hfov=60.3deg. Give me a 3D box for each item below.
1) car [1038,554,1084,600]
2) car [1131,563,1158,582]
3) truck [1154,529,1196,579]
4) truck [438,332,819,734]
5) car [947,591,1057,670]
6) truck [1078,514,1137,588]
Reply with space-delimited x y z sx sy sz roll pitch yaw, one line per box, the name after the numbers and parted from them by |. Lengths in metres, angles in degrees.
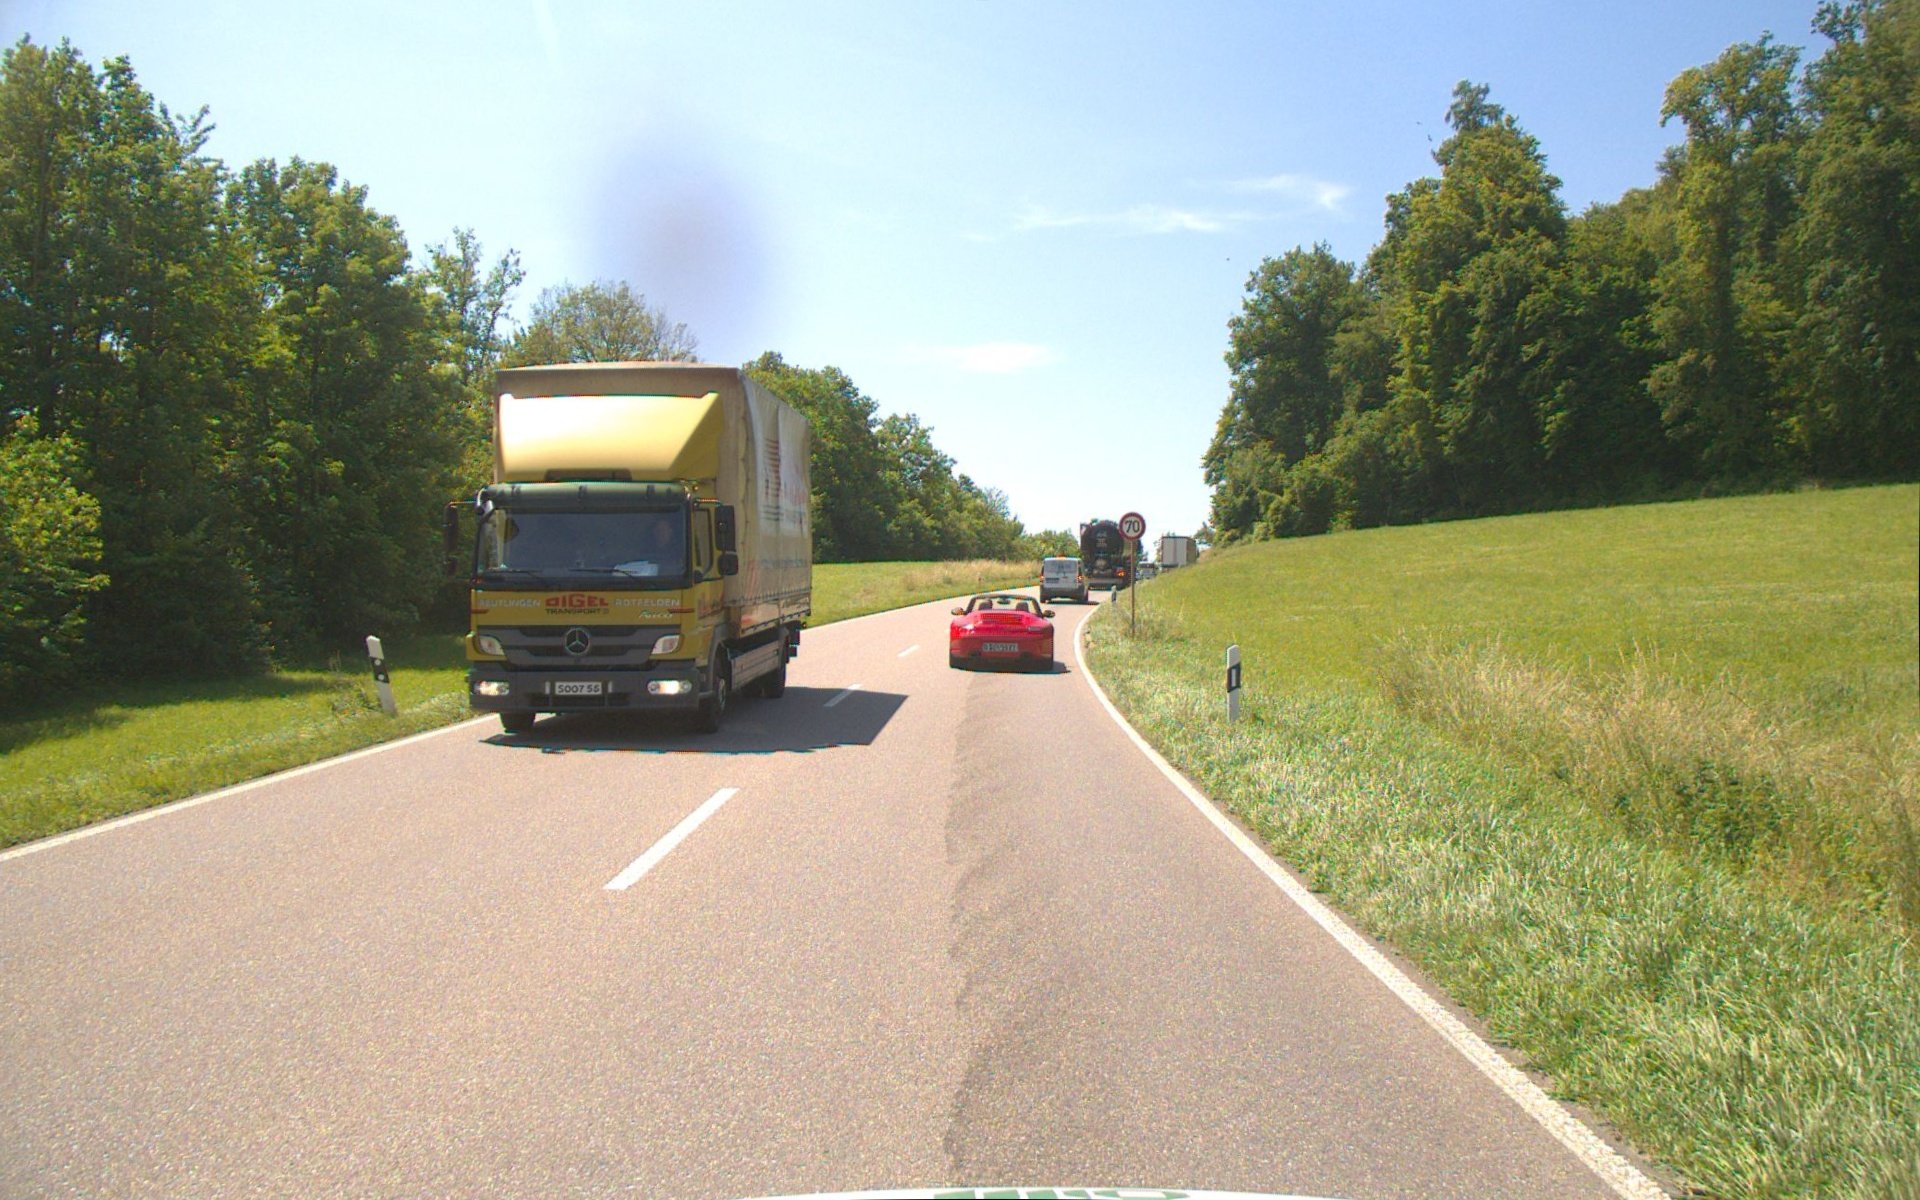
4.372 -1.013 71.145 1.643 1.933 4.013 0 2 8 | car
14.855 -2.222 132.985 1.791 1.540 4.195 0 1 12 | car
21.625 -4.571 165.735 3.645 4.741 12.042 0 1 10 | truck
-3.471 -0.658 19.739 2.674 3.755 8.547 0 0 1 | truck
0.719 0.505 29.782 1.844 1.277 4.010 0 1 0 | car
8.957 -2.935 99.157 2.352 4.120 12.563 0 2 10 | truck
